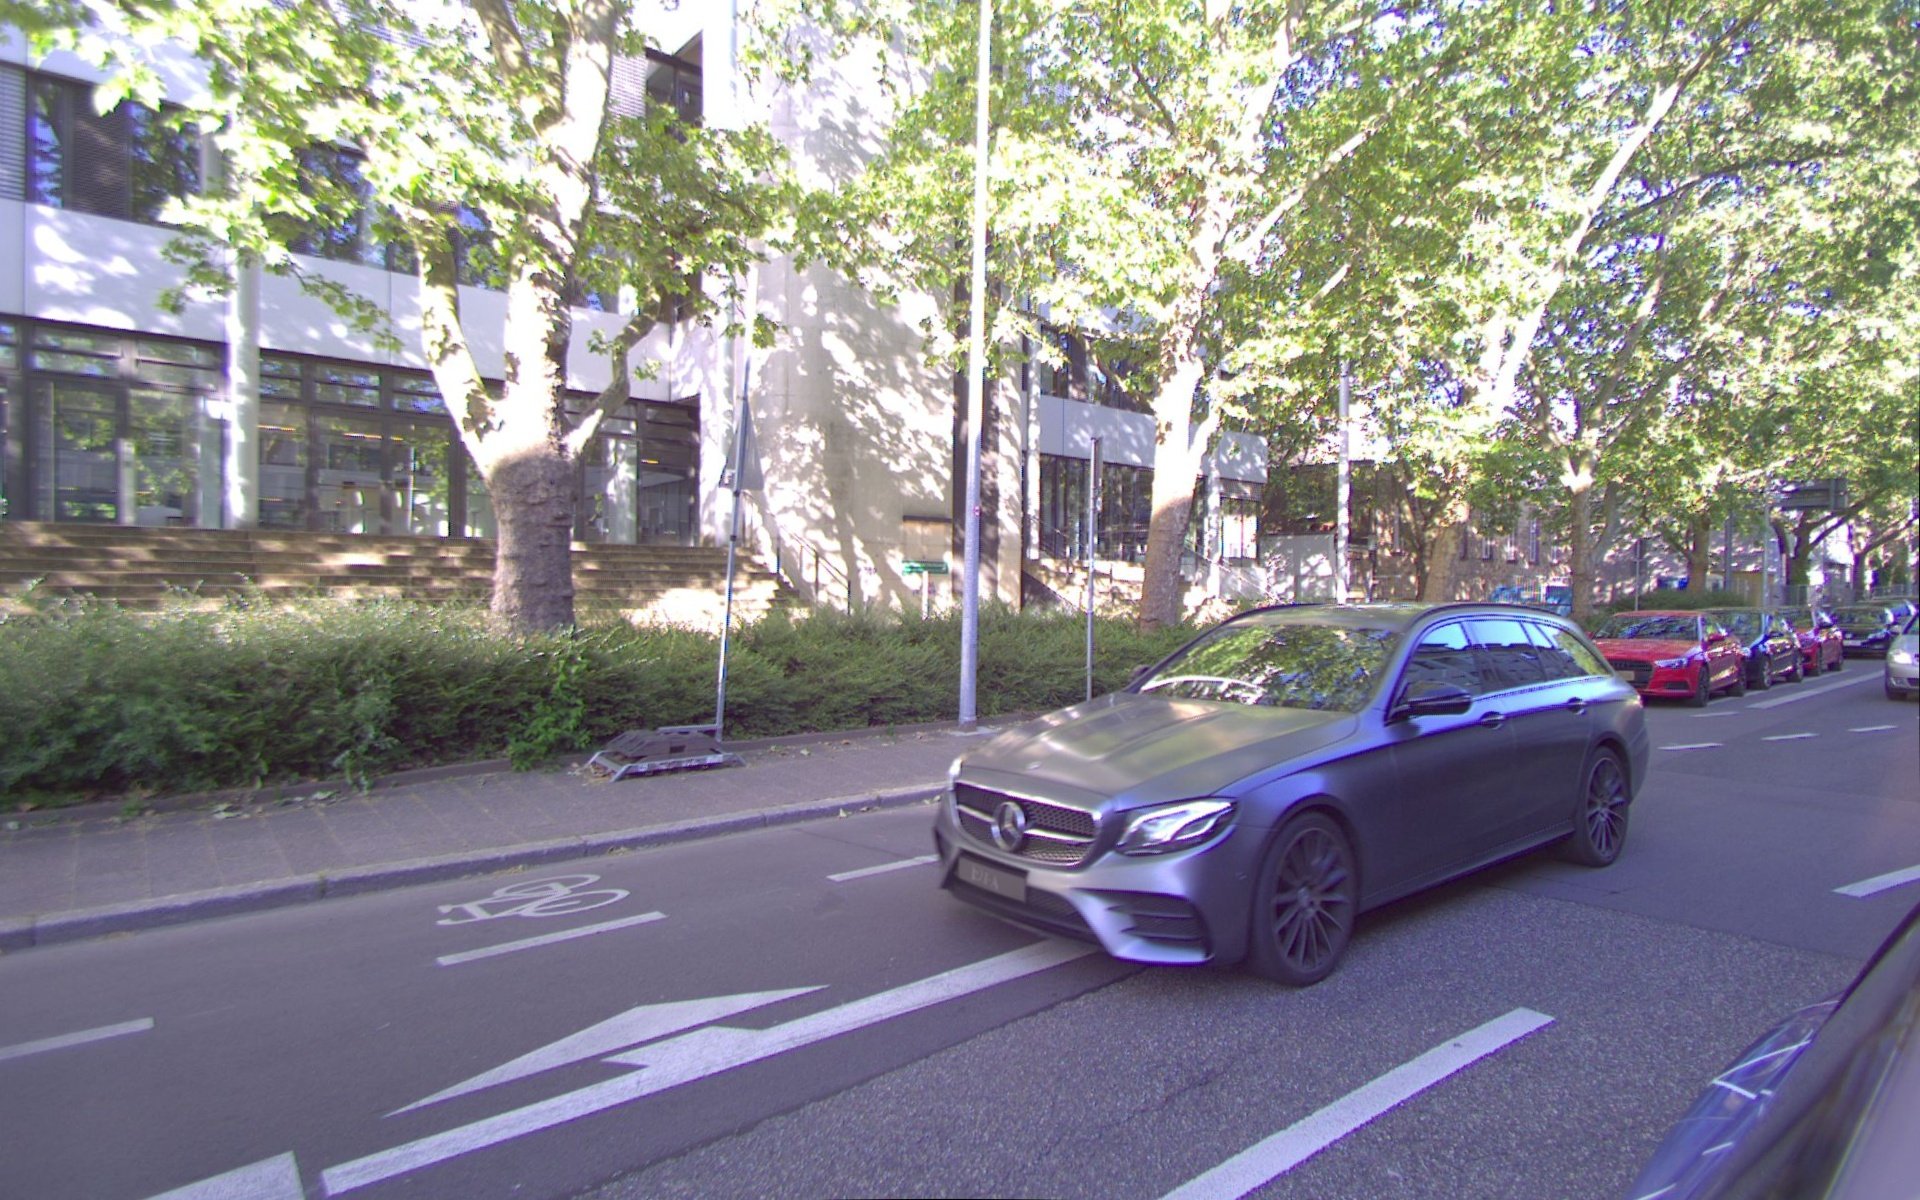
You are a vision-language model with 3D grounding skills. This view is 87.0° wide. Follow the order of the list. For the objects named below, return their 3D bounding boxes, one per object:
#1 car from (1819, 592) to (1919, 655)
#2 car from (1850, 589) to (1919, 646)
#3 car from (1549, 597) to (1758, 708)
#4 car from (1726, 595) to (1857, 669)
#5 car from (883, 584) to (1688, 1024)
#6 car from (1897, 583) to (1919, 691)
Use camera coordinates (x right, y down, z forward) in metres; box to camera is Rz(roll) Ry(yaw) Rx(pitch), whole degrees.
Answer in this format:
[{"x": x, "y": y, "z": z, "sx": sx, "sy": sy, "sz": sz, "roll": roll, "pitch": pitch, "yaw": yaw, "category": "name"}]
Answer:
[{"x": 25.943, "y": 0.608, "z": 28.818, "sx": 4.022, "sy": 1.653, "sz": 1.739, "roll": 0, "pitch": 1, "yaw": -42, "category": "car"}, {"x": 29.510, "y": 0.511, "z": 31.989, "sx": 3.840, "sy": 1.708, "sz": 1.633, "roll": 0, "pitch": 1, "yaw": -42, "category": "car"}, {"x": 11.170, "y": 0.743, "z": 16.194, "sx": 4.071, "sy": 1.548, "sz": 1.827, "roll": 0, "pitch": -1, "yaw": -42, "category": "car"}, {"x": 18.588, "y": 0.672, "z": 22.576, "sx": 3.851, "sy": 1.511, "sz": 1.679, "roll": 0, "pitch": -1, "yaw": -42, "category": "car"}, {"x": 2.028, "y": 0.695, "z": 5.583, "sx": 4.582, "sy": 1.483, "sz": 1.918, "roll": 0, "pitch": -1, "yaw": -37, "category": "car"}, {"x": 16.347, "y": 0.567, "z": 15.879, "sx": 3.787, "sy": 1.623, "sz": 1.707, "roll": 0, "pitch": 1, "yaw": -36, "category": "car"}]
